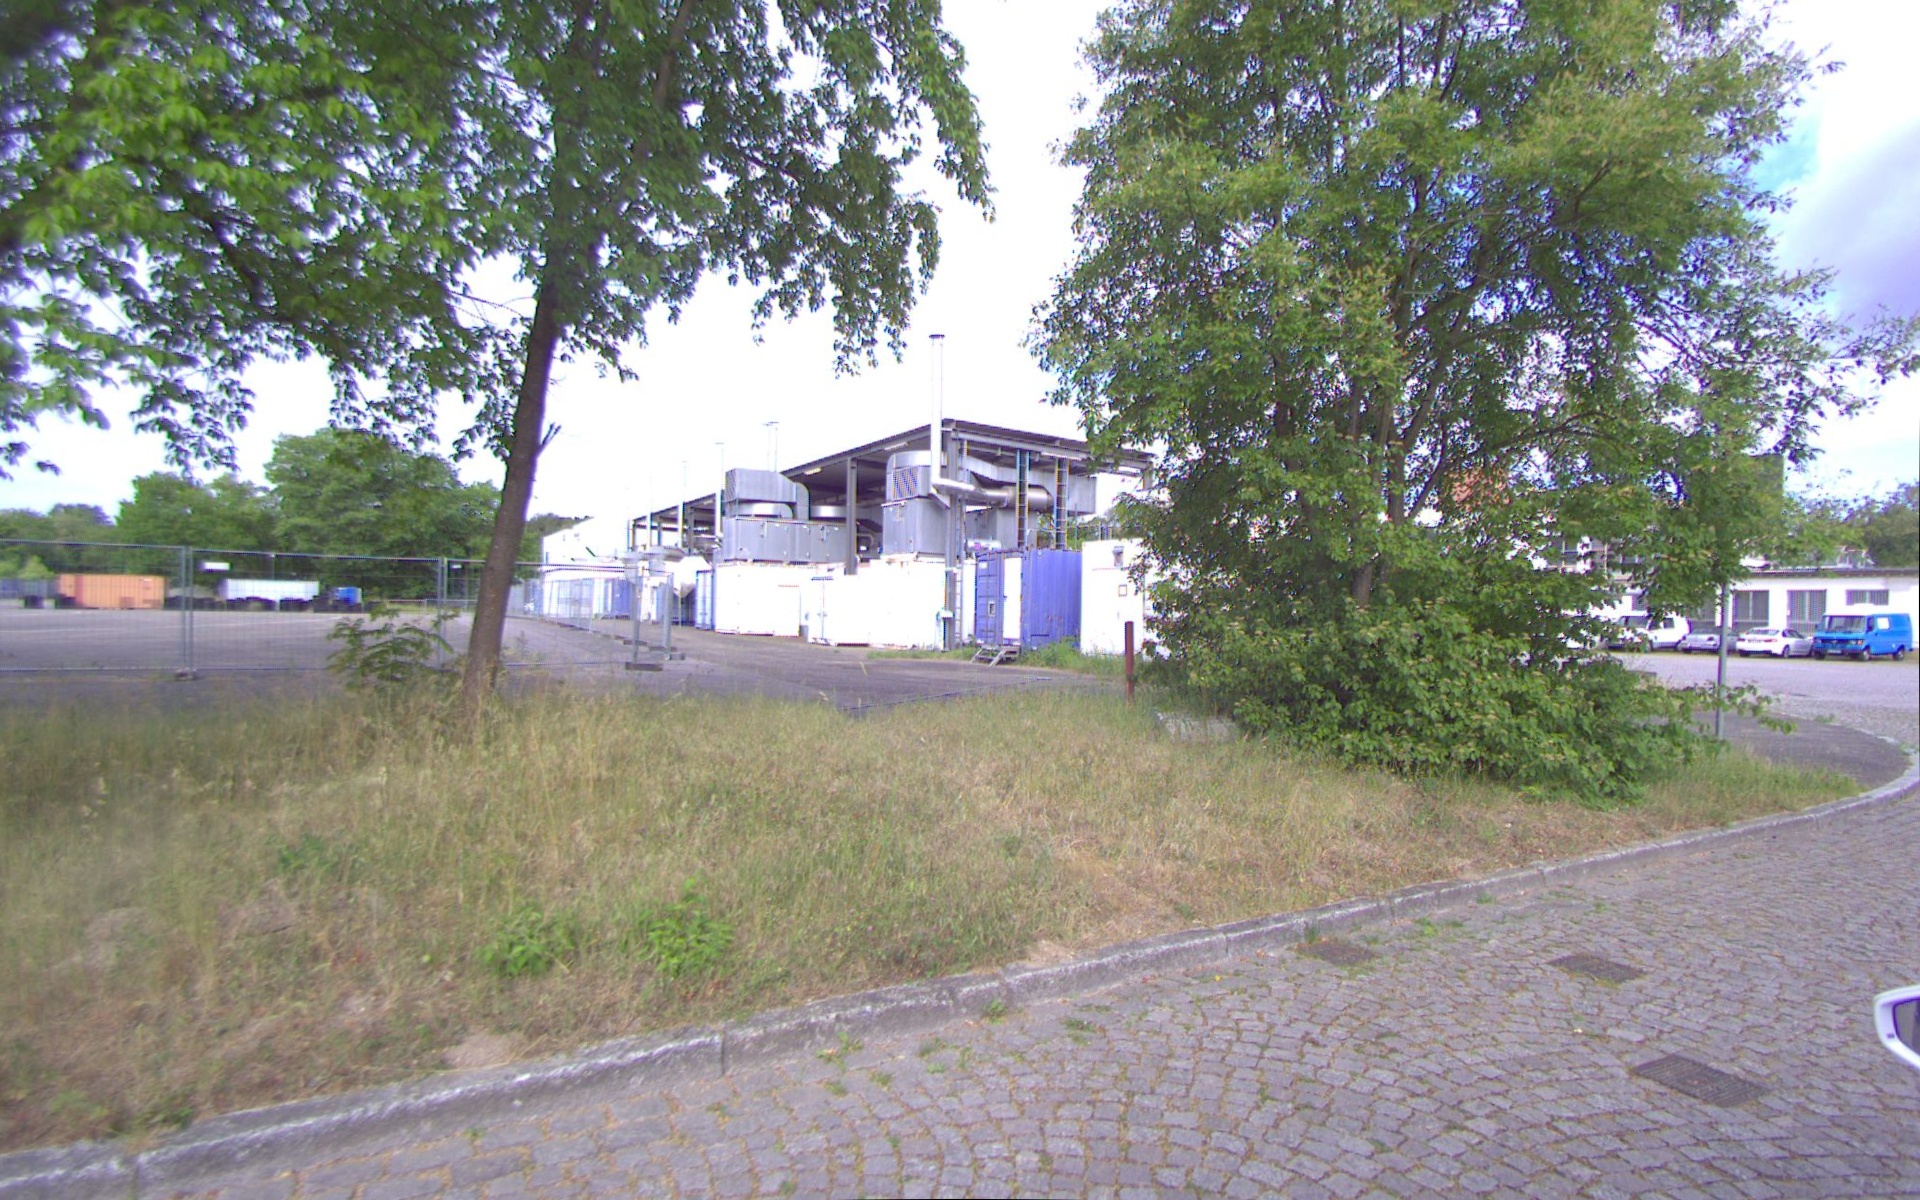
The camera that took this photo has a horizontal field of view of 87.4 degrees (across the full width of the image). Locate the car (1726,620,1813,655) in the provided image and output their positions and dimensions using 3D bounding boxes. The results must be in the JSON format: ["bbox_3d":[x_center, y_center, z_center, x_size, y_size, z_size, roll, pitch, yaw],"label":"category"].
[{"bbox_3d":[38.356,1.771,47.610,3.952,1.596,1.892,1,-1,-29],"label":"car"}]

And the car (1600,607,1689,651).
[{"bbox_3d":[35.998,1.530,52.792,4.722,2.236,1.893,1,-1,-28],"label":"car"}]

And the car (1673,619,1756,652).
[{"bbox_3d":[37.881,1.785,50.420,3.952,1.596,1.892,1,-1,-29],"label":"car"}]

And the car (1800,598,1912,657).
[{"bbox_3d":[40.847,1.266,45.782,5.546,2.557,1.986,1,-1,-27],"label":"car"}]

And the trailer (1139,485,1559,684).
[{"bbox_3d":[9.094,-0.172,22.740,10.588,3.755,2.646,1,-1,-29],"label":"trailer"}]
